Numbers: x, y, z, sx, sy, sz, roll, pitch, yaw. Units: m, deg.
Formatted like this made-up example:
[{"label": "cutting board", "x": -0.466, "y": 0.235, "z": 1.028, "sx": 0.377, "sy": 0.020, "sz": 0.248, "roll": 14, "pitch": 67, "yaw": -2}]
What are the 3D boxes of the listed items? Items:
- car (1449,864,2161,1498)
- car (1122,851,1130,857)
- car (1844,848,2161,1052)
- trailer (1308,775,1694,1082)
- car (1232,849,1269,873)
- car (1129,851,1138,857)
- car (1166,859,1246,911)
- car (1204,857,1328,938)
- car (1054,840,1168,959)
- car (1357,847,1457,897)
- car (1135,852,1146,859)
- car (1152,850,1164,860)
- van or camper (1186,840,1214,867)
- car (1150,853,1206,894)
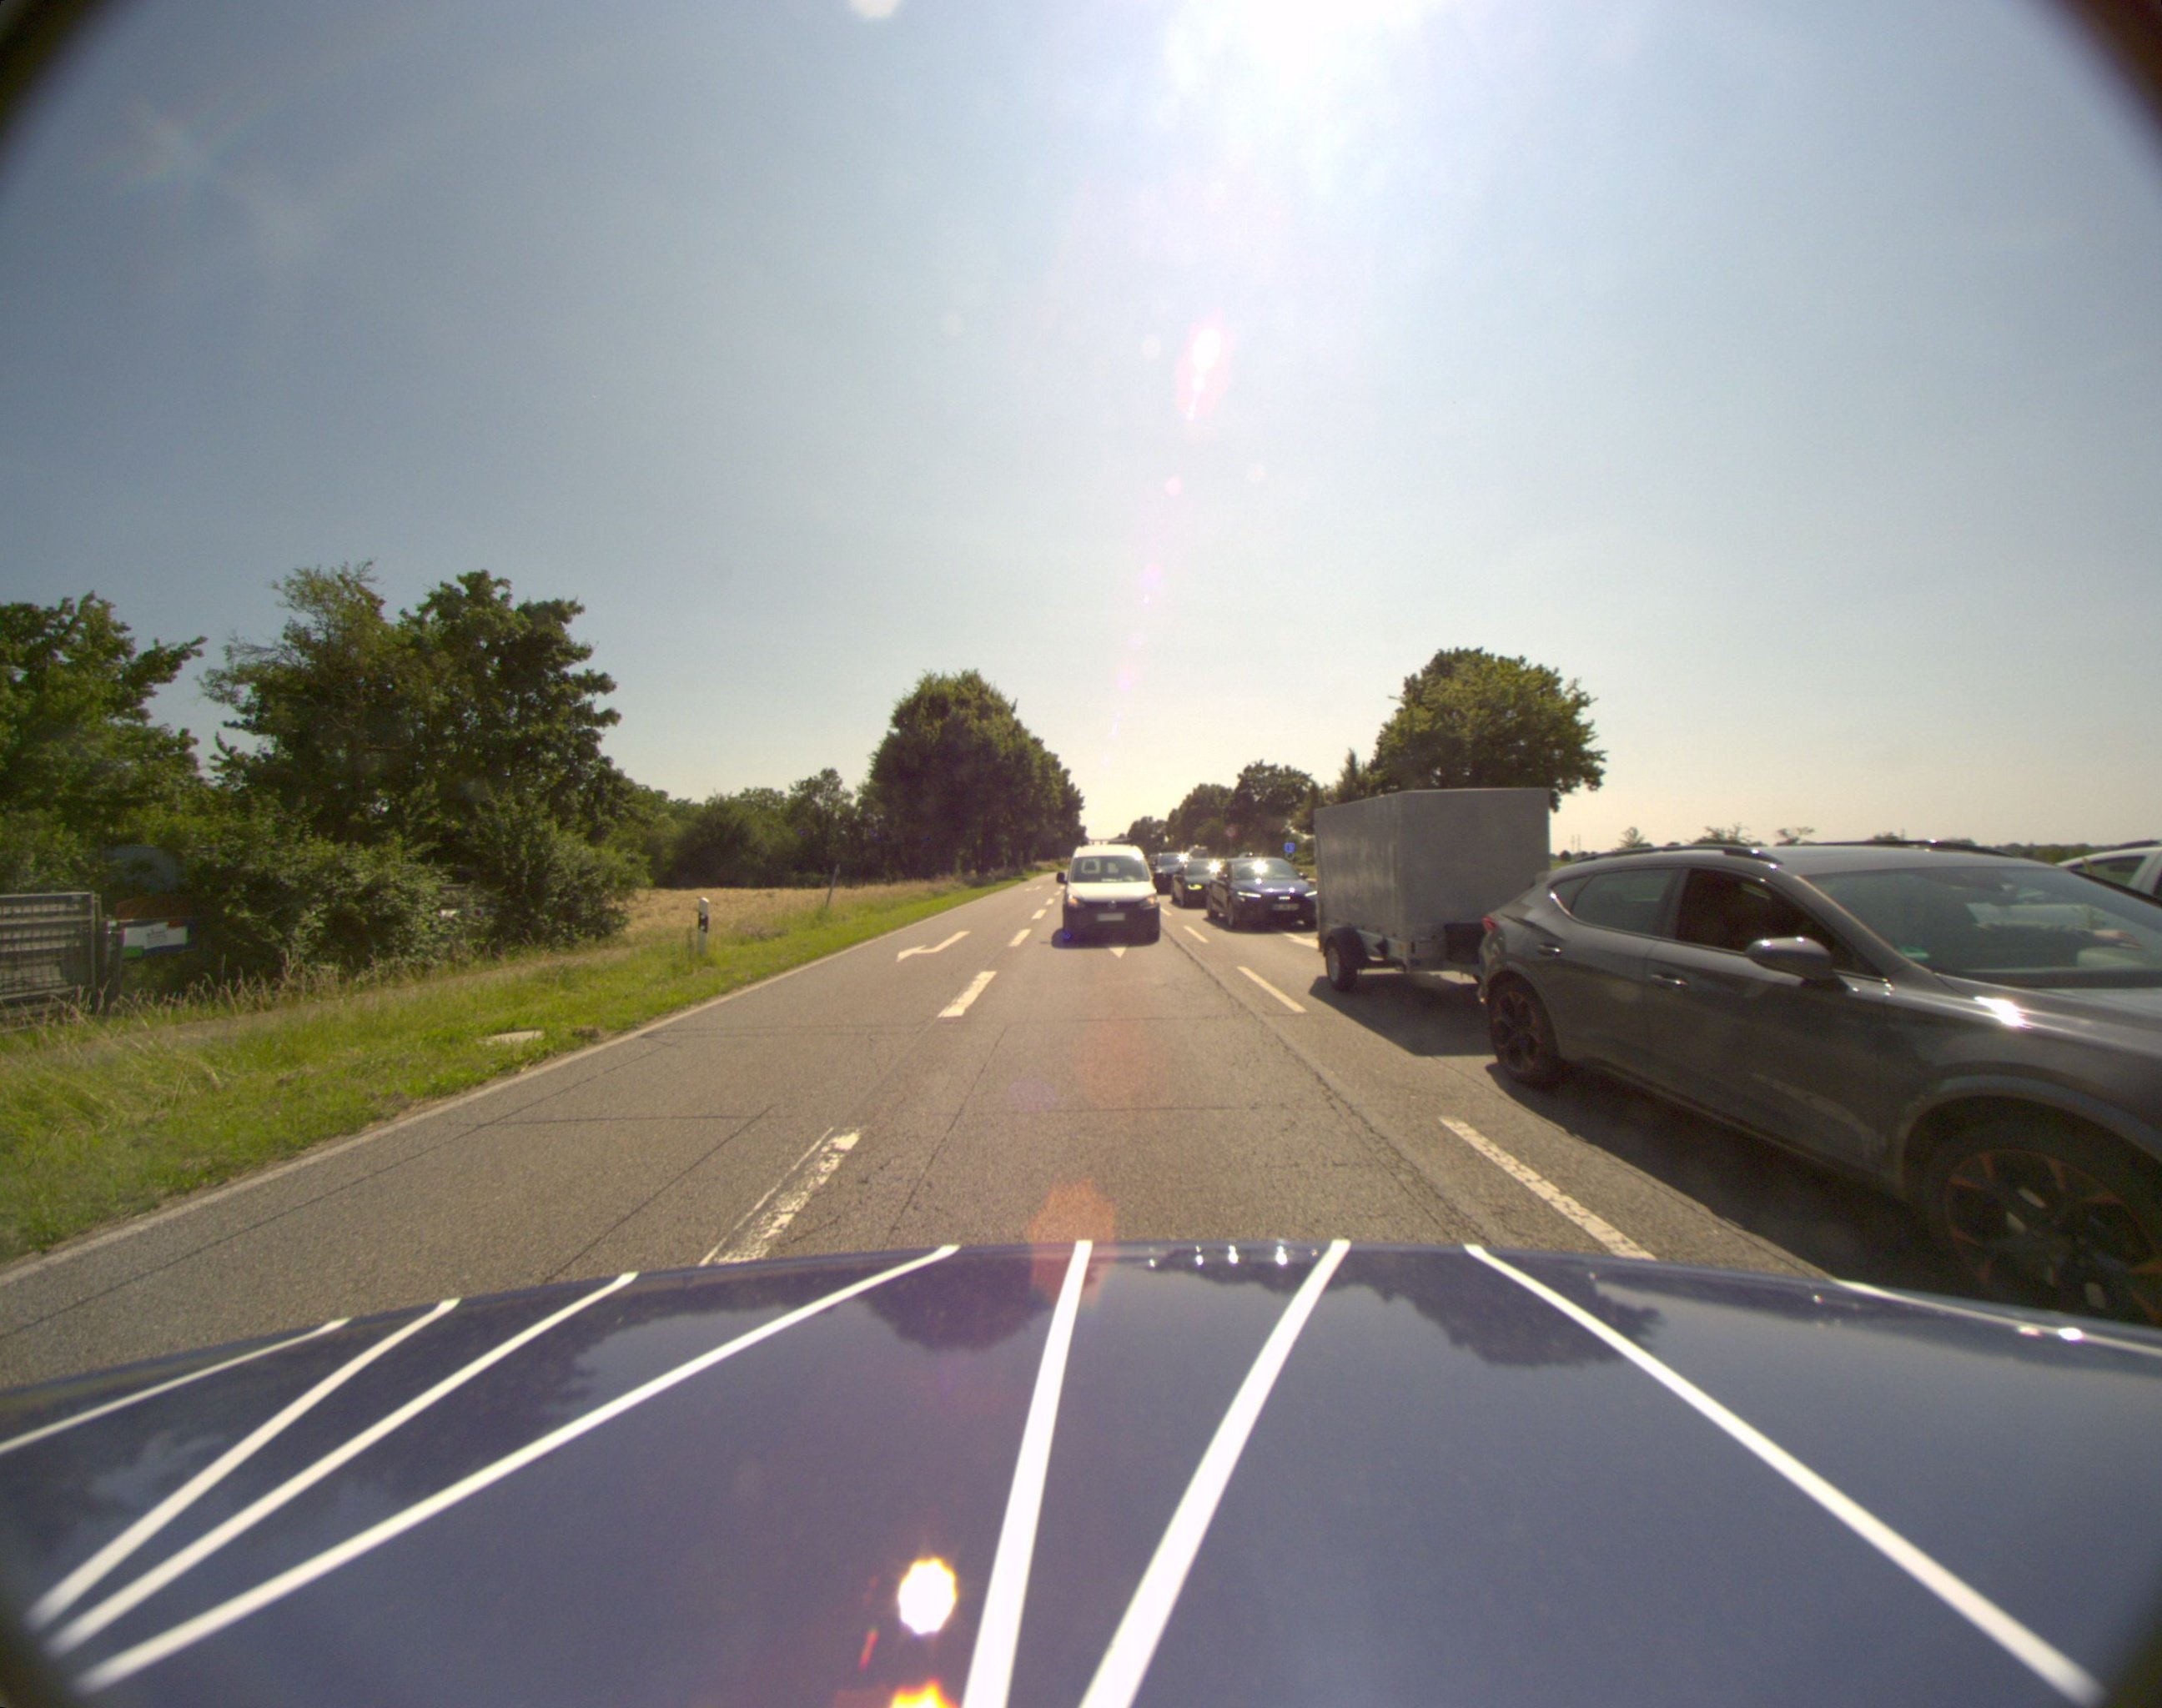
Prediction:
[{"label": "car", "x": 3.574, "y": 0.846, "z": 3.387, "sx": 1.750, "sy": 1.494, "sz": 4.363, "roll": -2, "pitch": 0, "yaw": 0}, {"label": "car", "x": 13.193, "y": -0.032, "z": 221.688, "sx": 1.998, "sy": 1.653, "sz": 4.480, "roll": 0, "pitch": 0, "yaw": 0}, {"label": "car", "x": 9.501, "y": 0.766, "z": 6.508, "sx": 1.750, "sy": 1.629, "sz": 4.135, "roll": 0, "pitch": 0, "yaw": -1}, {"label": "trailer", "x": 3.642, "y": 0.538, "z": 7.538, "sx": 1.504, "sy": 2.160, "sz": 4.174, "roll": -2, "pitch": 0, "yaw": 0}, {"label": "car", "x": 13.438, "y": 0.512, "z": 60.545, "sx": 1.862, "sy": 1.845, "sz": 4.696, "roll": 0, "pitch": 0, "yaw": -1}, {"label": "car", "x": 13.818, "y": -0.009, "z": 199.621, "sx": 1.998, "sy": 1.593, "sz": 4.480, "roll": 0, "pitch": 0, "yaw": 0}, {"label": "car", "x": 3.725, "y": 0.874, "z": 23.336, "sx": 1.744, "sy": 1.372, "sz": 4.455, "roll": -2, "pitch": 0, "yaw": 1}, {"label": "car", "x": 3.847, "y": 0.840, "z": 16.502, "sx": 1.721, "sy": 1.456, "sz": 4.030, "roll": -2, "pitch": 0, "yaw": 1}, {"label": "car", "x": 0.519, "y": 0.734, "z": 14.597, "sx": 1.777, "sy": 1.863, "sz": 4.581, "roll": -2, "pitch": 0, "yaw": 1}, {"label": "car", "x": 13.514, "y": 0.704, "z": 31.876, "sx": 1.999, "sy": 1.919, "sz": 5.015, "roll": 0, "pitch": 0, "yaw": -1}, {"label": "car", "x": 11.613, "y": 0.282, "z": 149.164, "sx": 1.884, "sy": 1.445, "sz": 4.505, "roll": 0, "pitch": -1, "yaw": 0}, {"label": "car", "x": 15.829, "y": 0.215, "z": 156.360, "sx": 1.998, "sy": 1.940, "sz": 4.830, "roll": 0, "pitch": 0, "yaw": 0}, {"label": "van or camper", "x": 13.991, "y": -0.078, "z": 89.694, "sx": 2.269, "sy": 3.081, "sz": 5.695, "roll": 0, "pitch": 0, "yaw": -1}, {"label": "car", "x": 3.885, "y": 0.756, "z": 31.093, "sx": 1.860, "sy": 1.507, "sz": 4.100, "roll": -1, "pitch": 0, "yaw": 2}]
